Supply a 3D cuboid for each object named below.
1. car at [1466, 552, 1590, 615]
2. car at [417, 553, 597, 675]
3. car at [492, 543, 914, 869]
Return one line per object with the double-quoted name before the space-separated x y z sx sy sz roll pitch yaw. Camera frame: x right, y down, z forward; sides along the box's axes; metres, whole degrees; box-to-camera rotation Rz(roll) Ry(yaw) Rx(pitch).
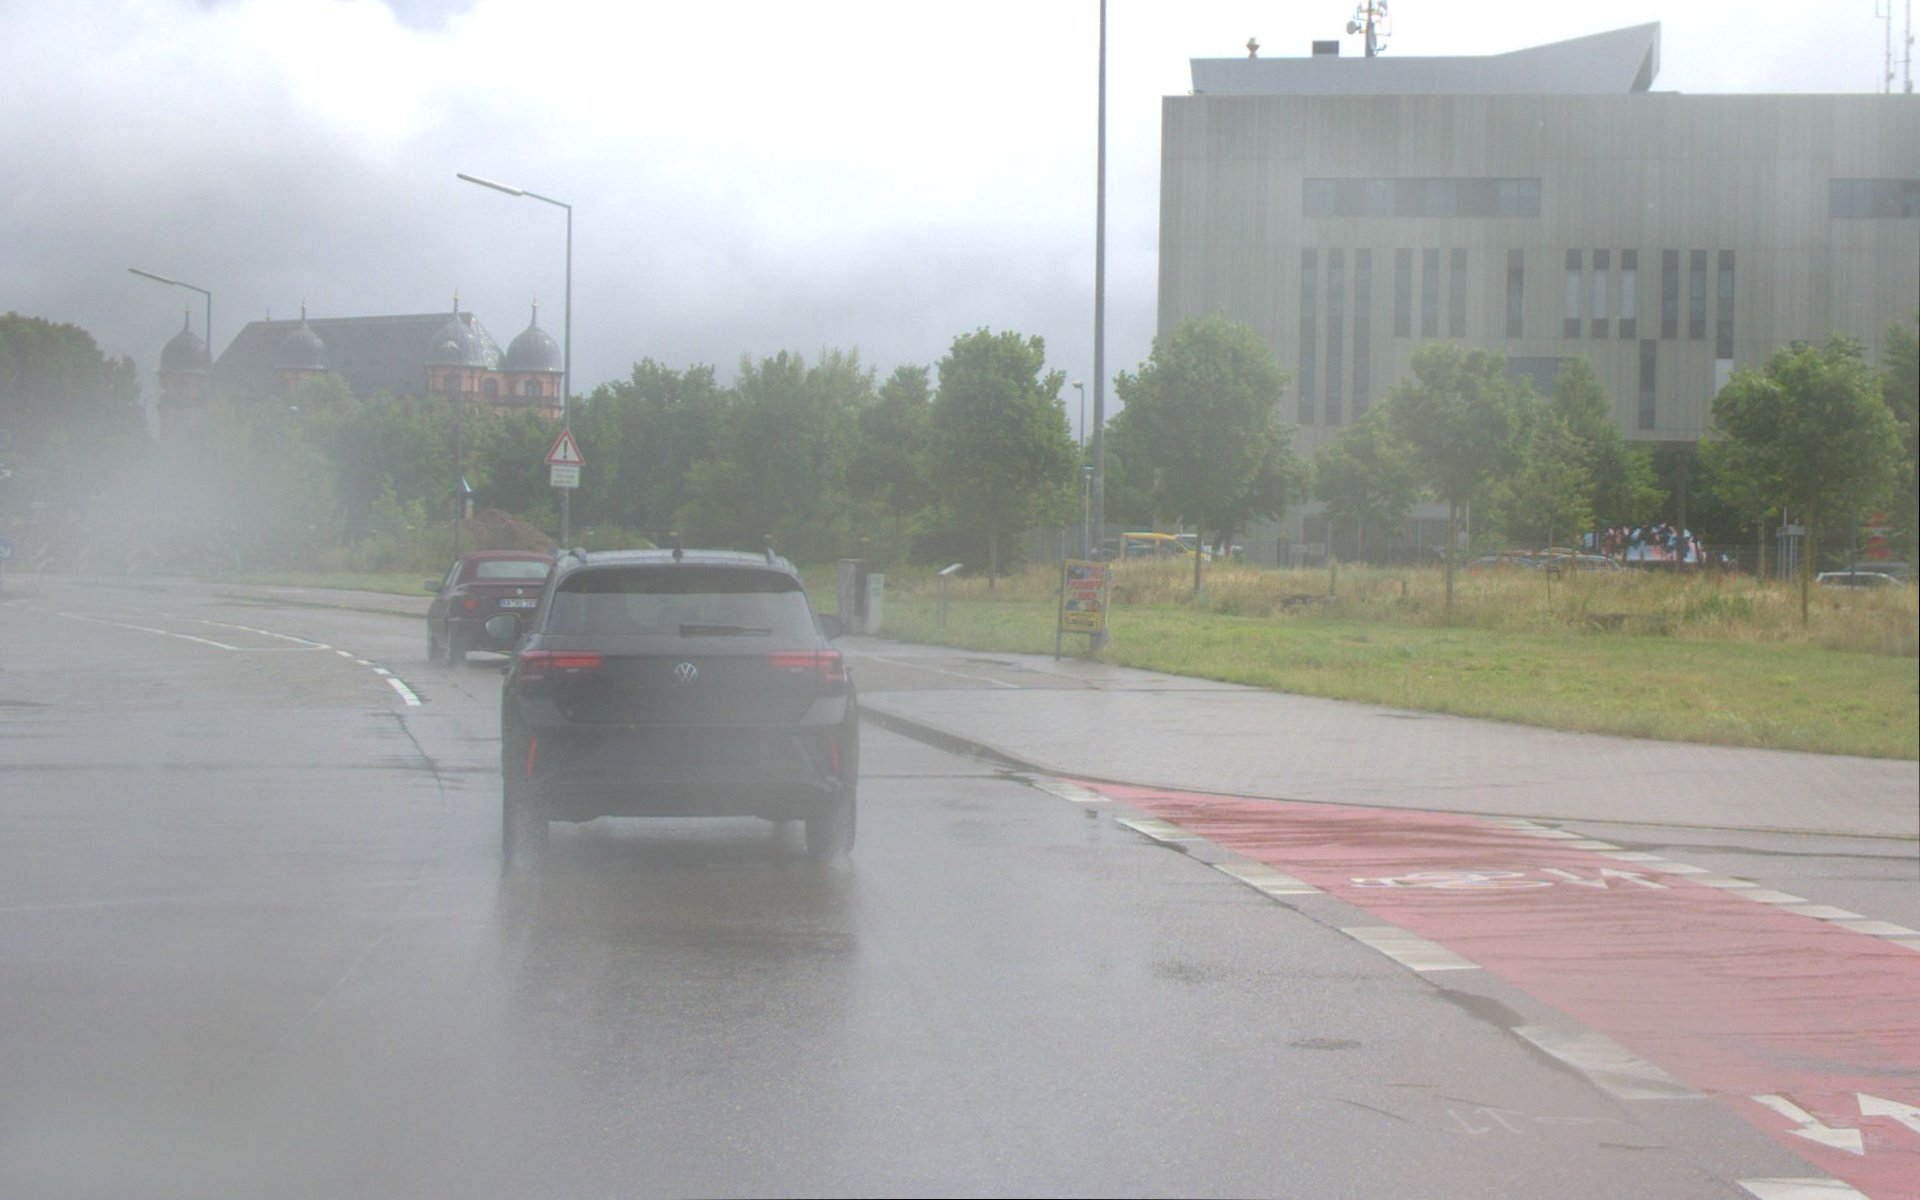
"car" 18.839 -0.559 114.030 3.701 2.007 1.998 1 0 21
"car" -5.822 0.138 43.807 1.841 1.437 4.001 -1 1 -13
"car" -1.475 0.480 18.392 1.986 1.515 4.001 1 1 -7
